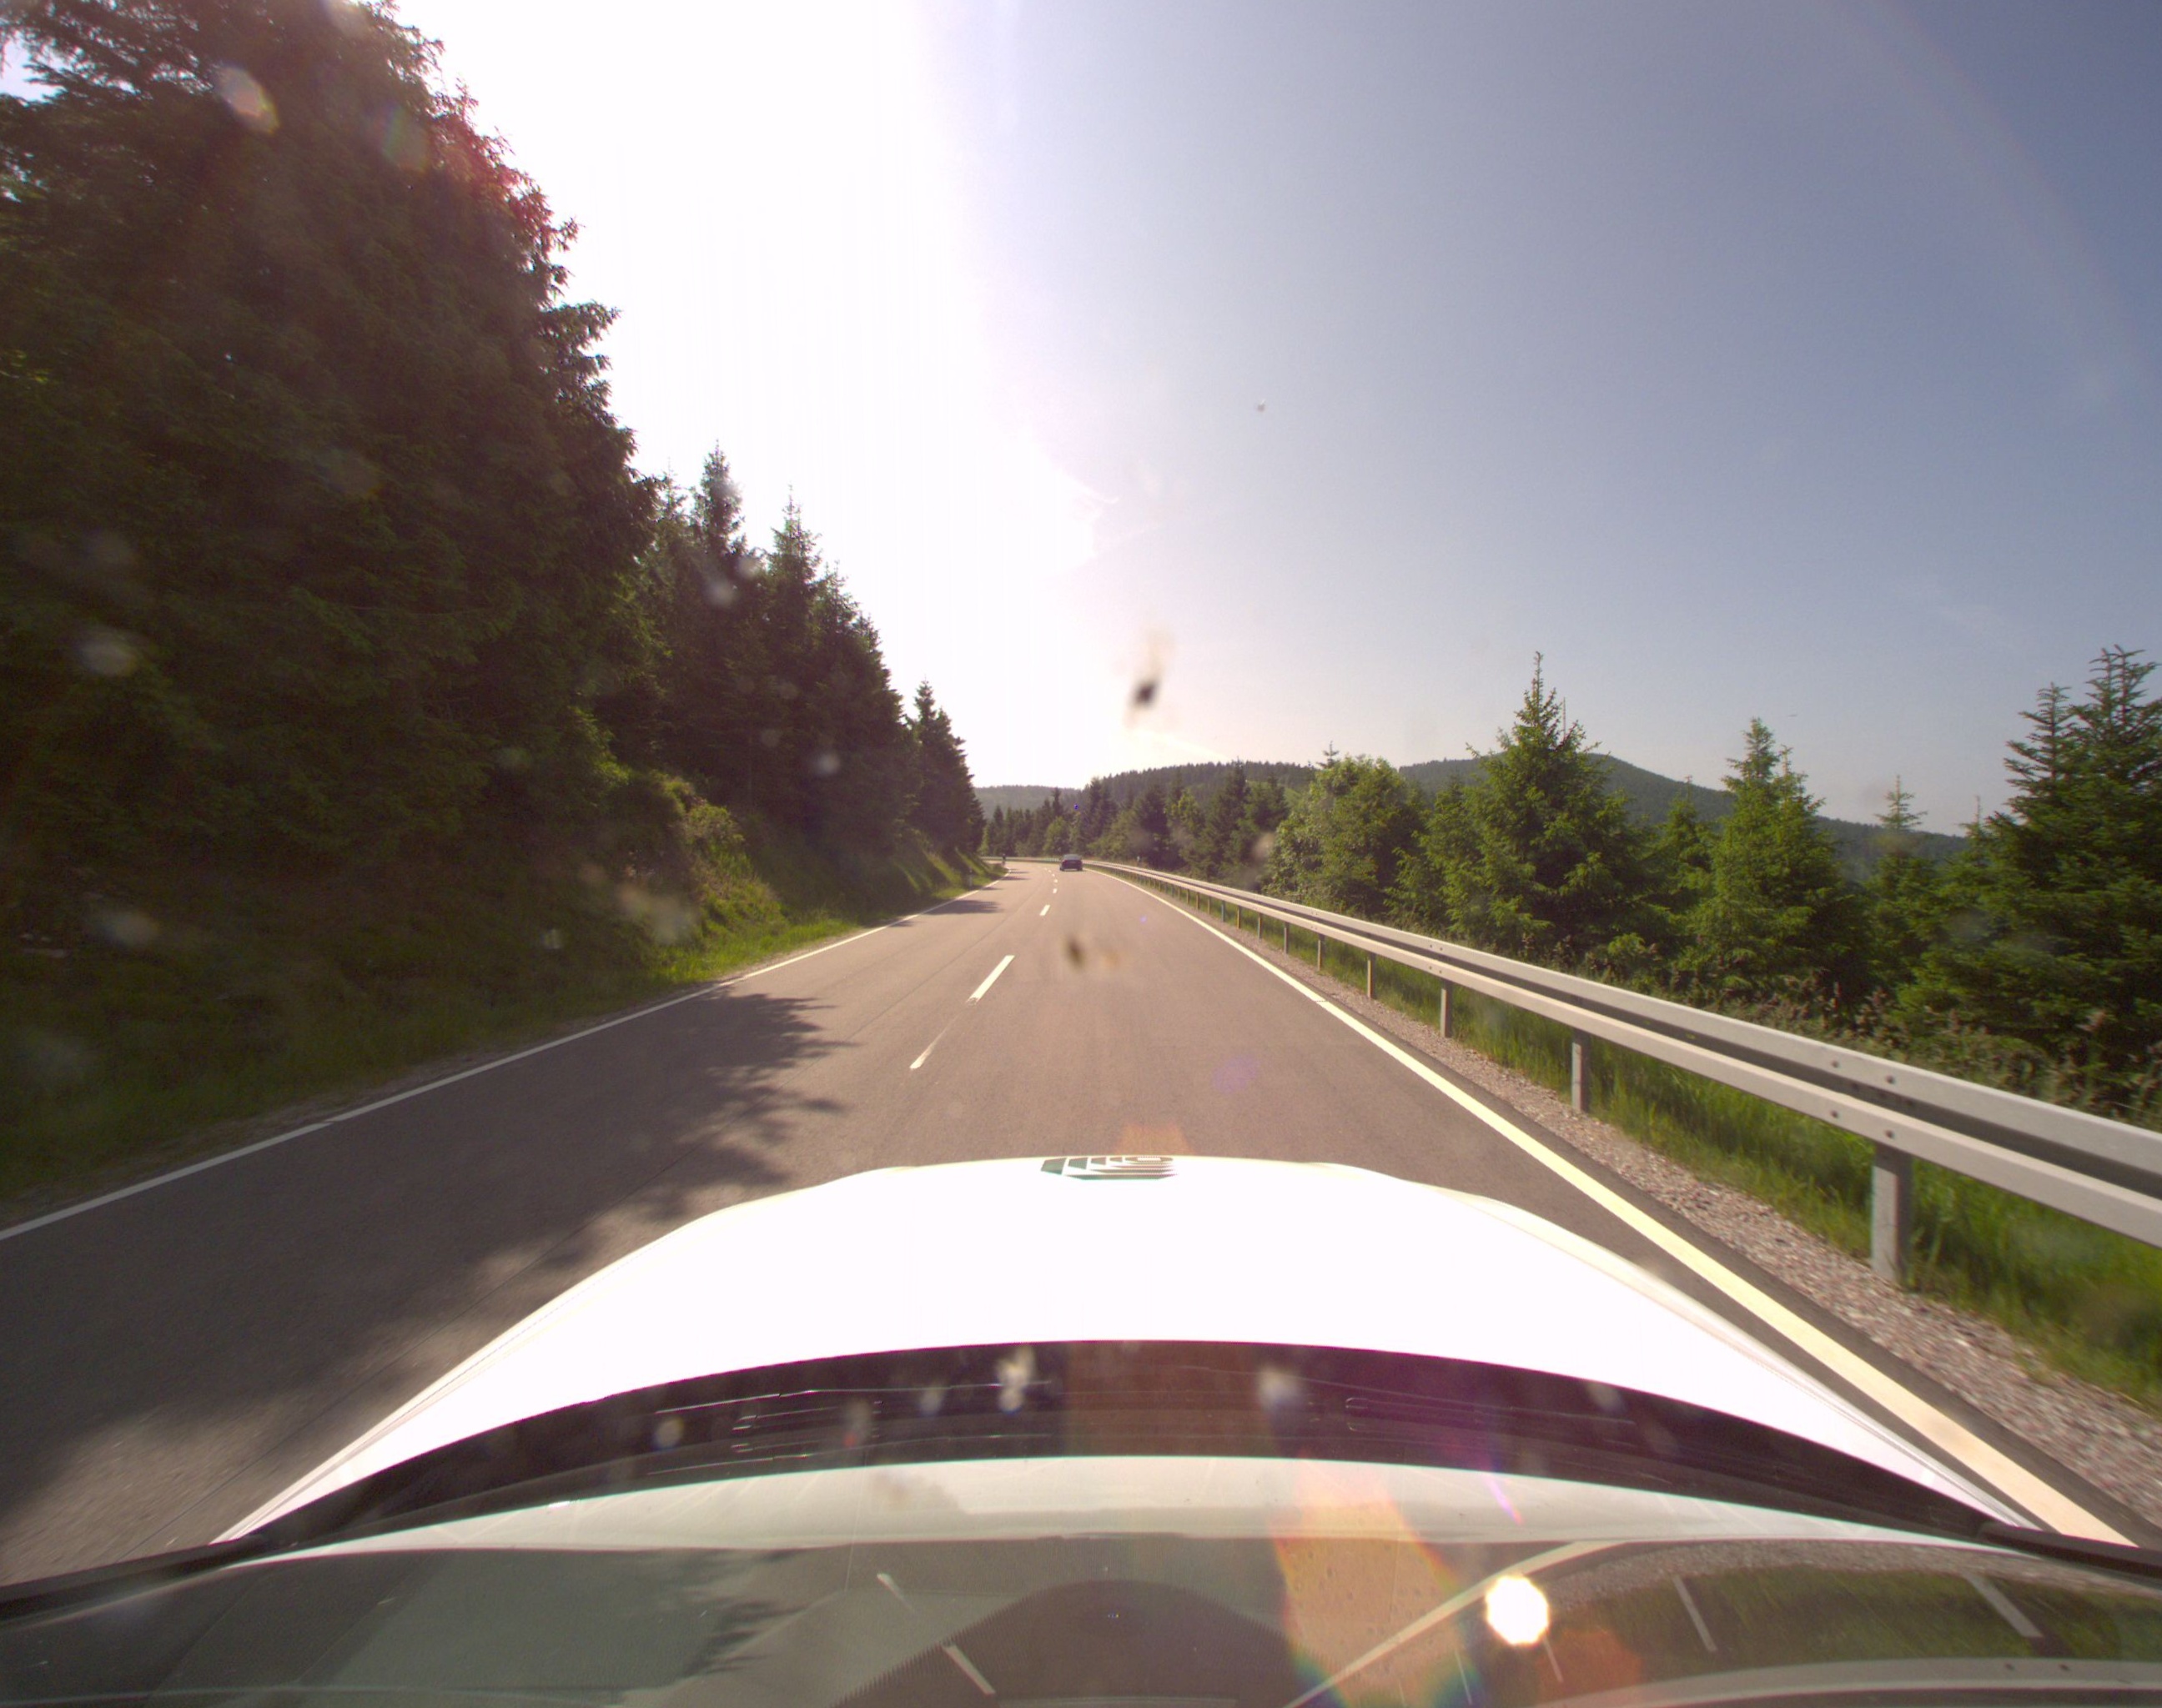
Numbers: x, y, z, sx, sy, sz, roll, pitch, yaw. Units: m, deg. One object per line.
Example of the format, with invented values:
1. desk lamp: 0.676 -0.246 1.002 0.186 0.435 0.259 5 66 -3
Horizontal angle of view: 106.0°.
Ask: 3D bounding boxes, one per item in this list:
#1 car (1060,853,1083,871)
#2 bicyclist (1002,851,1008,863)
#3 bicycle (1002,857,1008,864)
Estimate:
1. car: -0.869 0.711 70.321 1.772 1.442 3.704 -2 0 -3
2. bicyclist: -9.787 0.415 104.703 0.542 1.451 0.979 -2 0 -11
3. bicycle: -9.780 0.829 104.785 0.553 0.886 2.054 -2 0 -11
